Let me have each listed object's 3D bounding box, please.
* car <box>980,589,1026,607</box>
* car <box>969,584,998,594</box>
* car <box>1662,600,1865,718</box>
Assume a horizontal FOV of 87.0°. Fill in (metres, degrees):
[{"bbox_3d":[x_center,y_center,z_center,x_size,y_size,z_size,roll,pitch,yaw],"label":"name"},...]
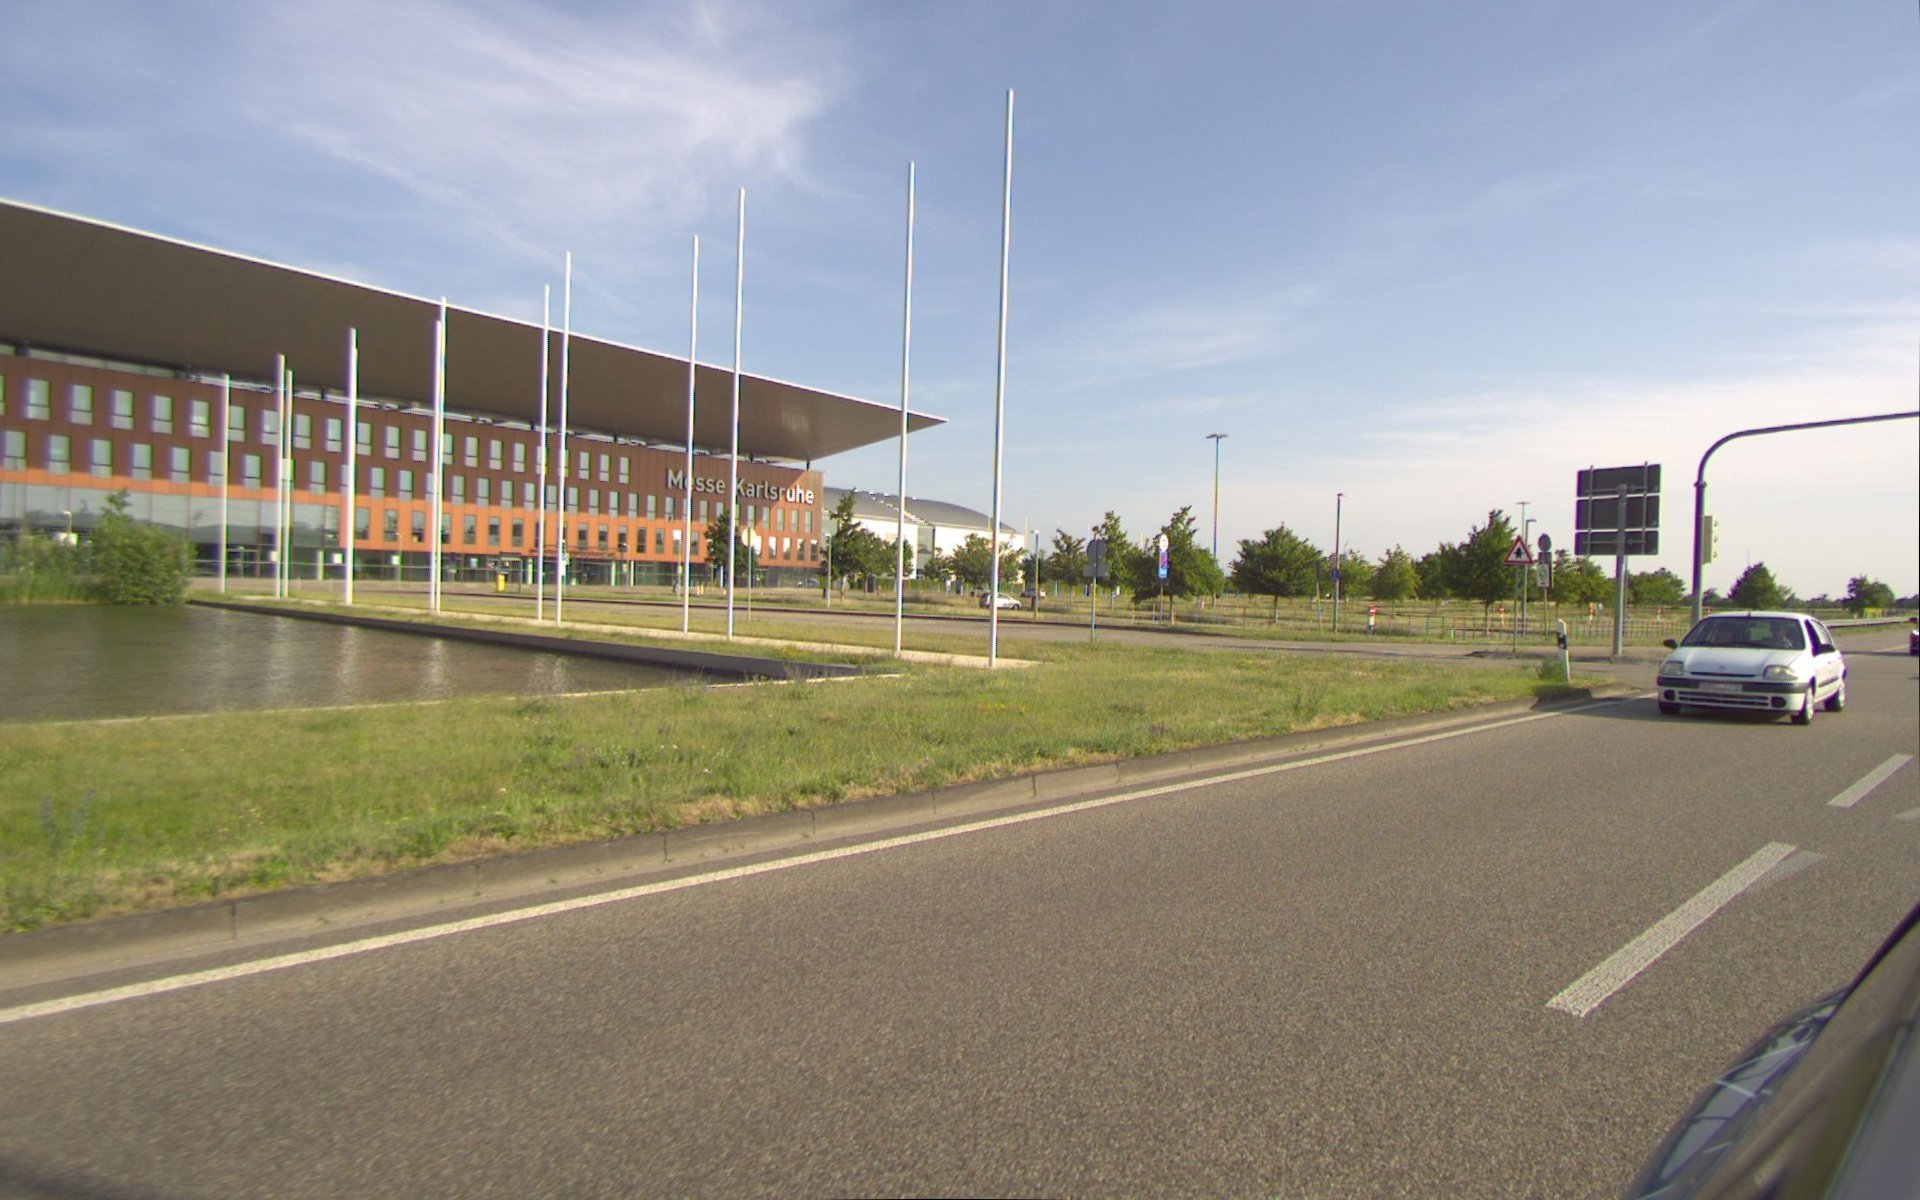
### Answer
[{"bbox_3d":[3.686,-0.196,86.347,3.493,1.473,1.714,1,0,-29],"label":"car"},{"bbox_3d":[3.275,-1.506,140.117,1.461,1.295,4.202,1,0,-43],"label":"car"},{"bbox_3d":[11.063,0.721,13.871,3.391,1.396,1.577,1,0,-41],"label":"car"}]
